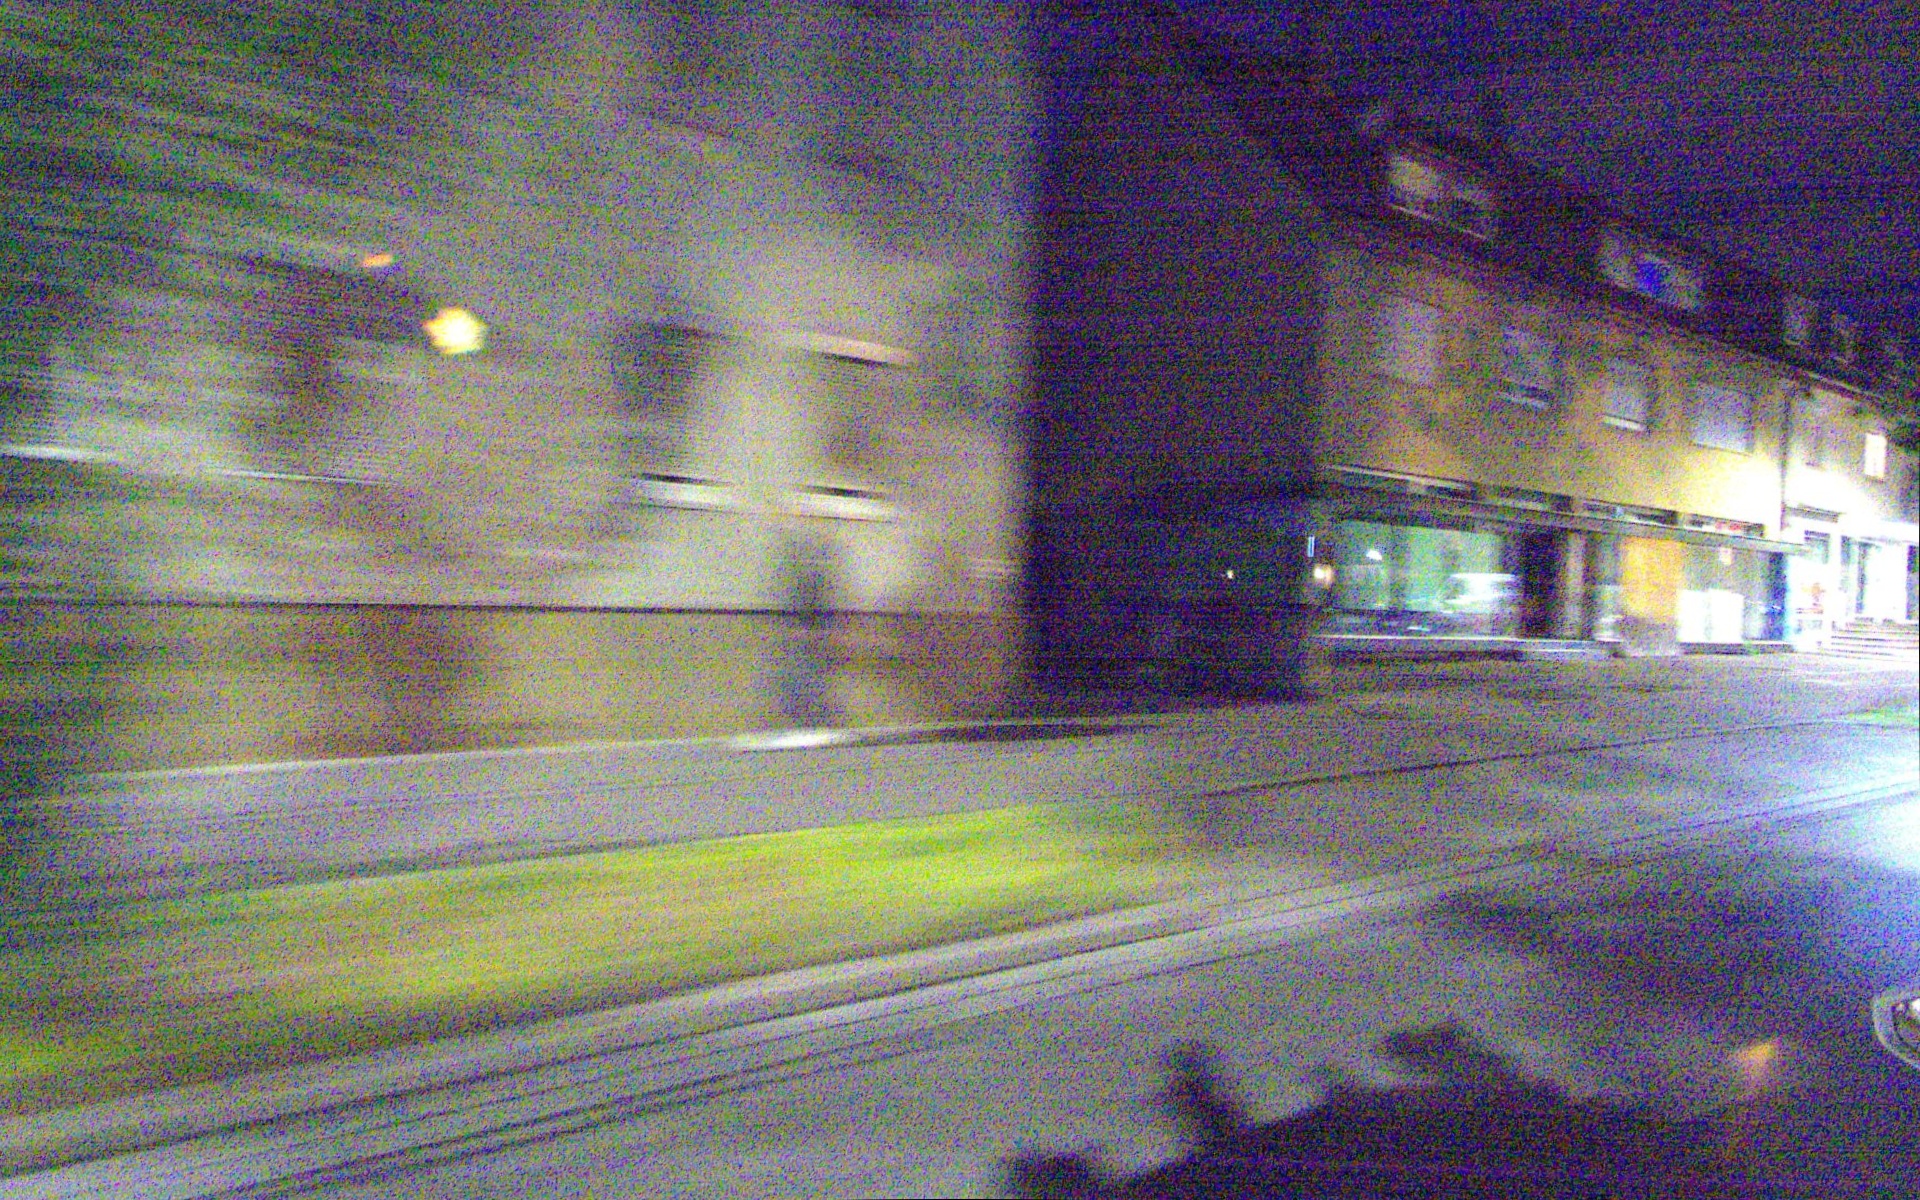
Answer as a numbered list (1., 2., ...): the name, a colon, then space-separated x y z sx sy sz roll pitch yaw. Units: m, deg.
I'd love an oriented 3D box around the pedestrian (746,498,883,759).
1. pedestrian: -1.161 0.202 7.933 0.820 1.929 0.741 0 3 -30
